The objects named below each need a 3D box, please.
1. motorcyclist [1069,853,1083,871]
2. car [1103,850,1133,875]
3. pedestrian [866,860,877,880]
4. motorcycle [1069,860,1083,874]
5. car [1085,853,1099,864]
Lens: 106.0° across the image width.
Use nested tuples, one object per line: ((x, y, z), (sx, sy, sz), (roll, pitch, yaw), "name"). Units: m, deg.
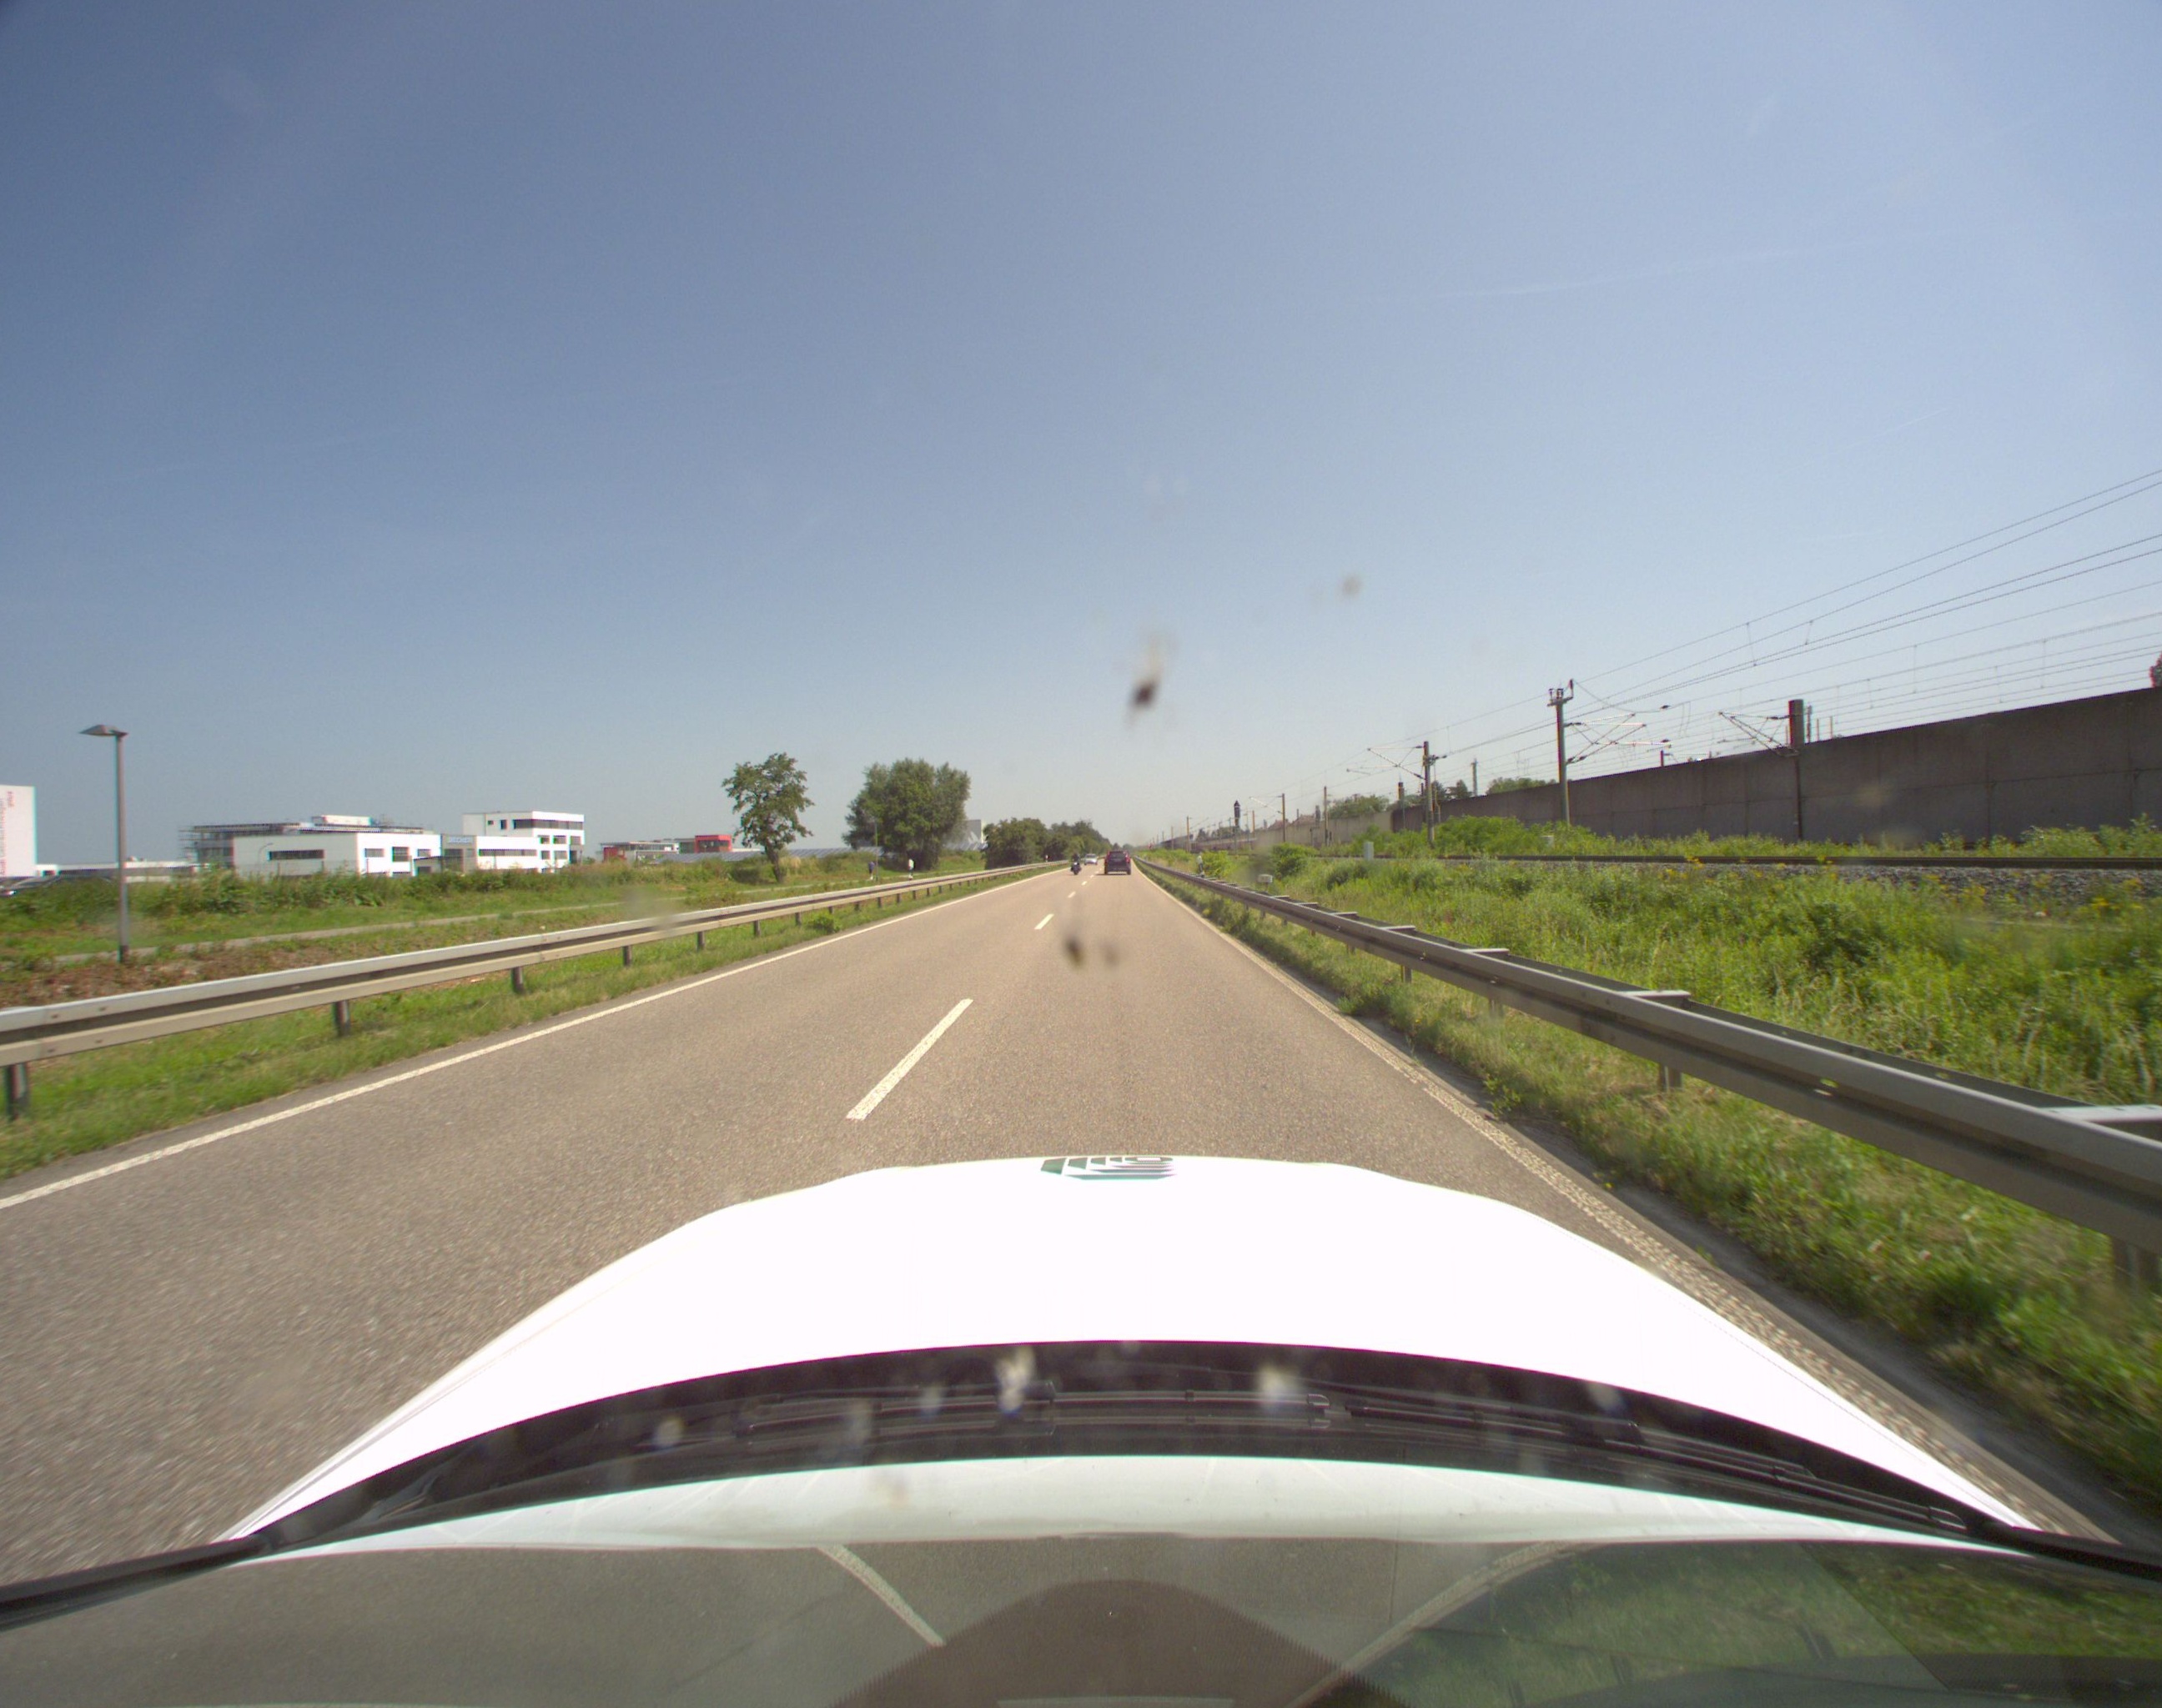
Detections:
((-0.370, 0.568, 58.757), (0.989, 1.310, 0.936), (0, 0, 2), "motorcyclist")
((2.574, 0.568, 57.962), (1.986, 1.700, 4.000), (-1, 0, 1), "car")
((-18.940, 1.453, 73.650), (0.576, 1.750, 0.822), (-3, 0, 7), "pedestrian")
((-0.366, 0.923, 58.782), (0.924, 1.028, 2.269), (0, 0, 3), "motorcycle")
((1.482, 0.607, 109.146), (1.691, 1.475, 4.689), (0, 0, 3), "car")
